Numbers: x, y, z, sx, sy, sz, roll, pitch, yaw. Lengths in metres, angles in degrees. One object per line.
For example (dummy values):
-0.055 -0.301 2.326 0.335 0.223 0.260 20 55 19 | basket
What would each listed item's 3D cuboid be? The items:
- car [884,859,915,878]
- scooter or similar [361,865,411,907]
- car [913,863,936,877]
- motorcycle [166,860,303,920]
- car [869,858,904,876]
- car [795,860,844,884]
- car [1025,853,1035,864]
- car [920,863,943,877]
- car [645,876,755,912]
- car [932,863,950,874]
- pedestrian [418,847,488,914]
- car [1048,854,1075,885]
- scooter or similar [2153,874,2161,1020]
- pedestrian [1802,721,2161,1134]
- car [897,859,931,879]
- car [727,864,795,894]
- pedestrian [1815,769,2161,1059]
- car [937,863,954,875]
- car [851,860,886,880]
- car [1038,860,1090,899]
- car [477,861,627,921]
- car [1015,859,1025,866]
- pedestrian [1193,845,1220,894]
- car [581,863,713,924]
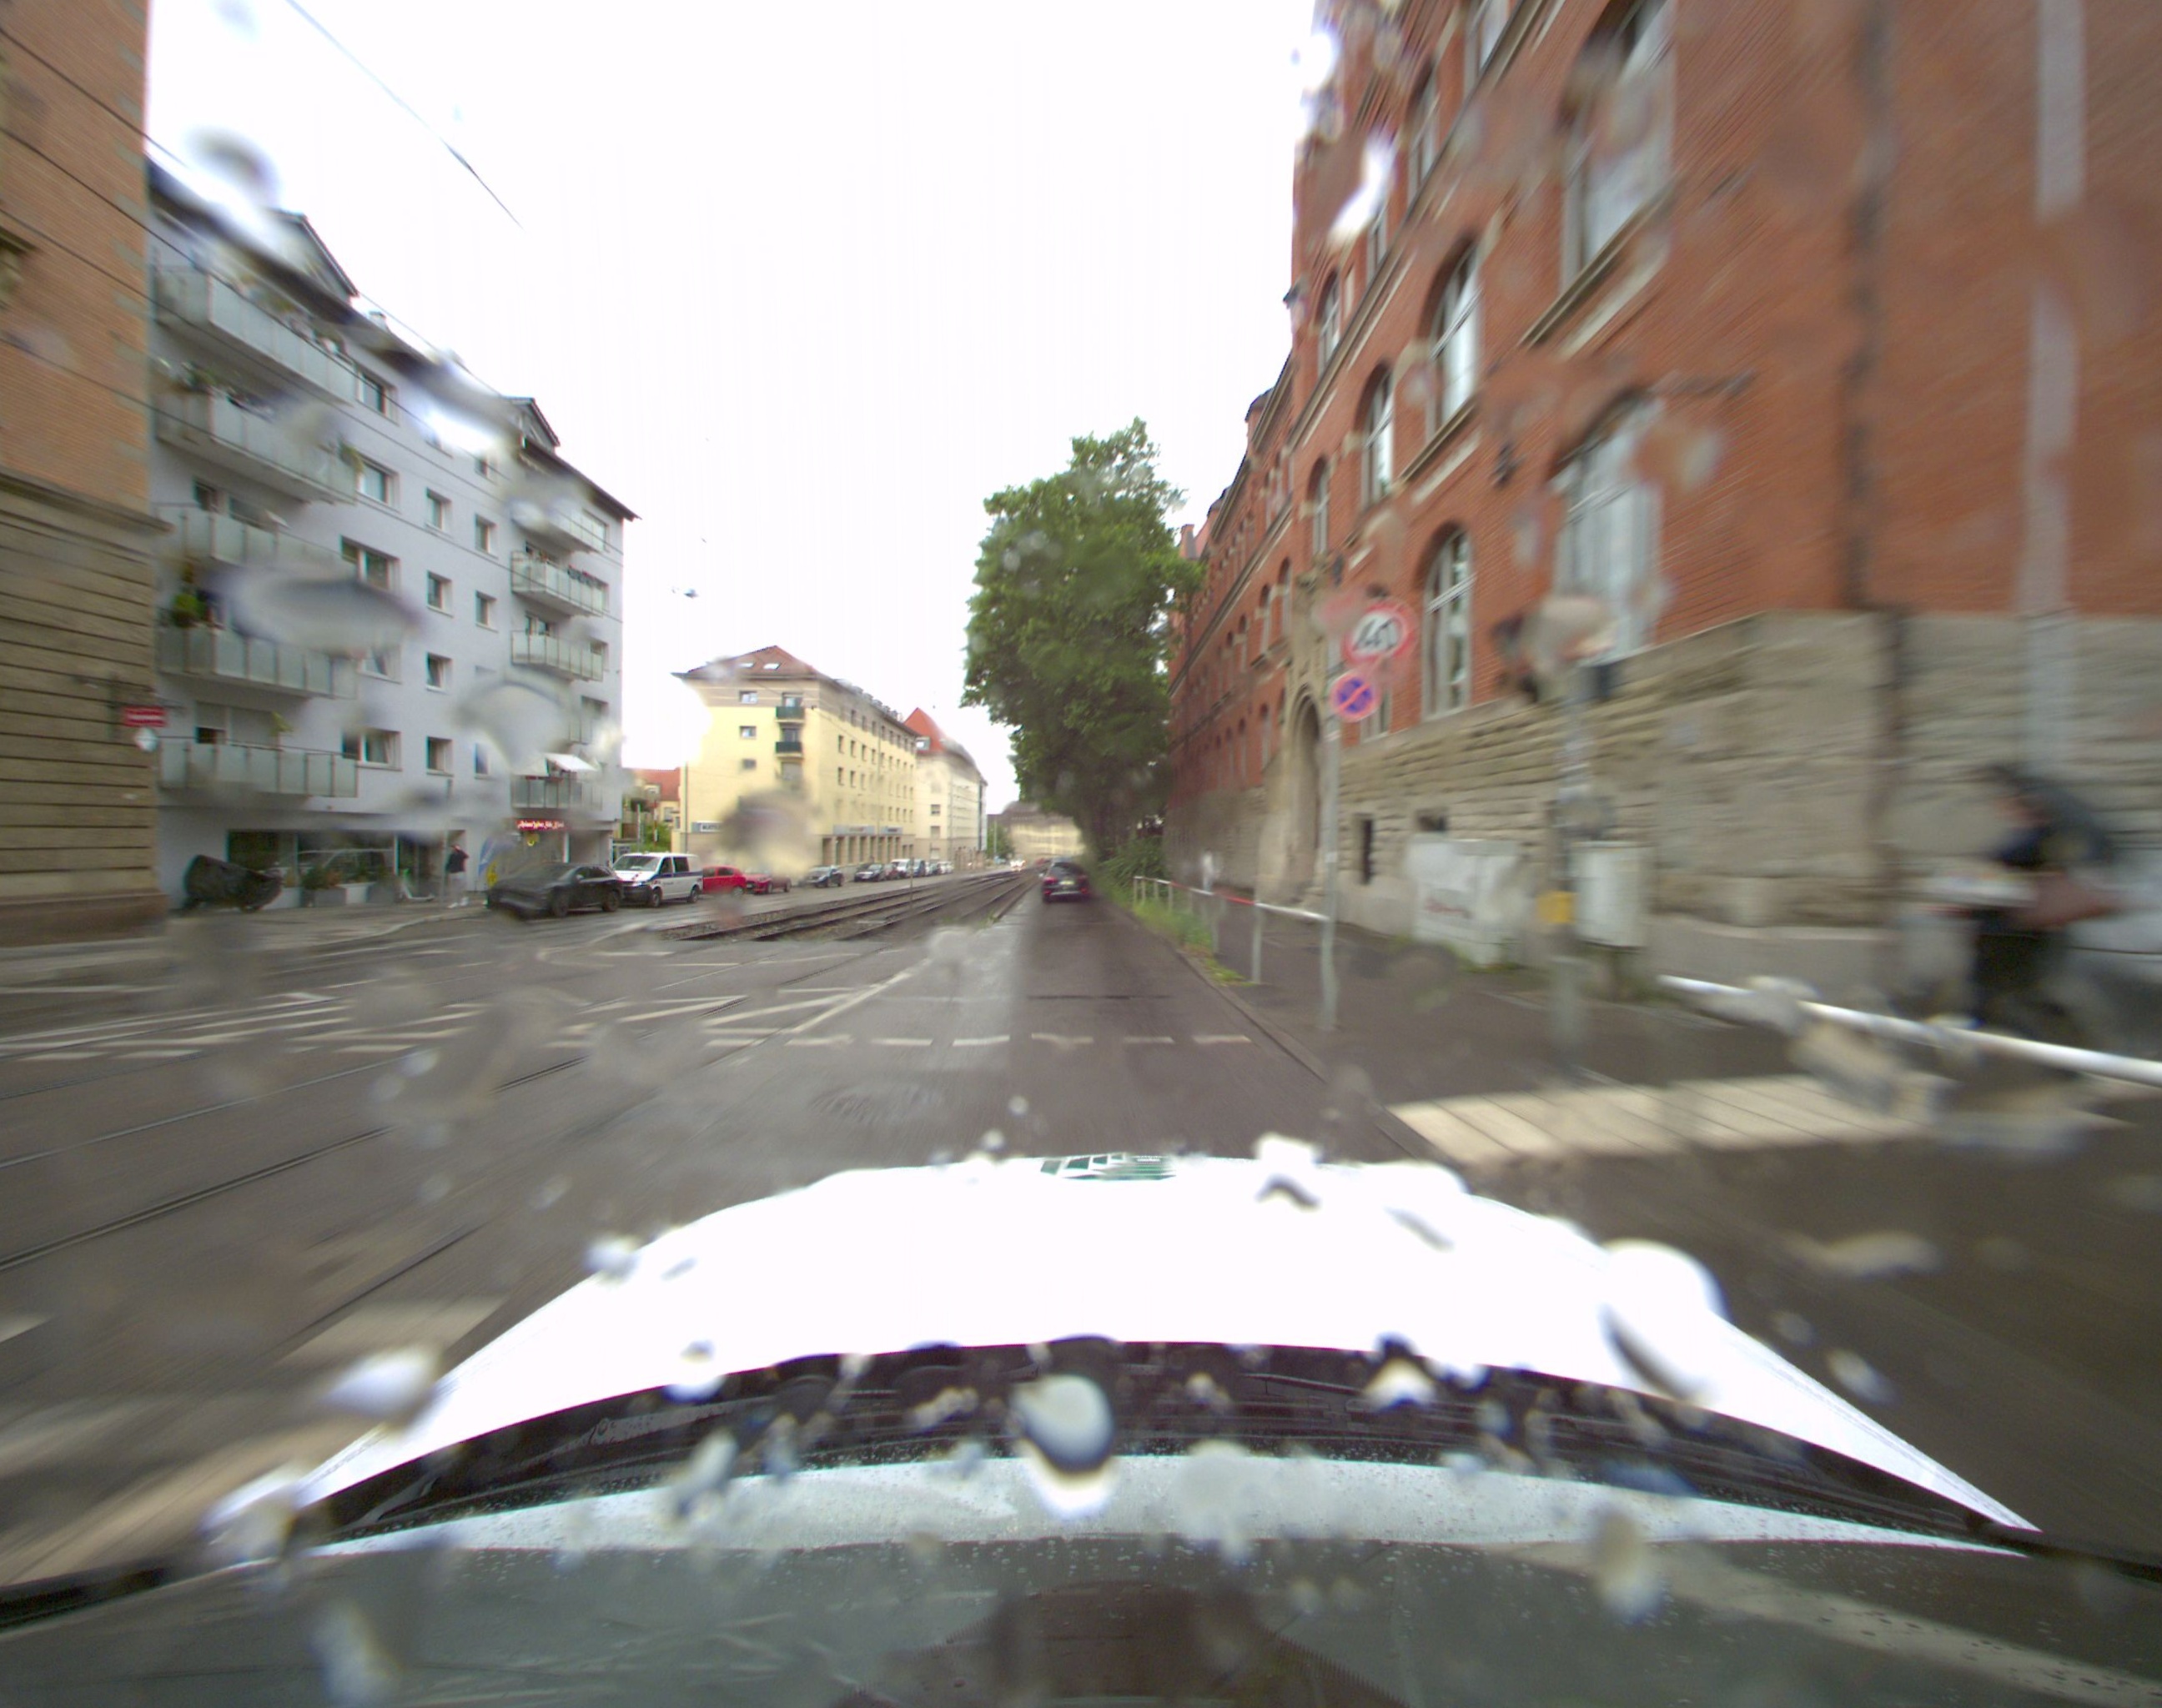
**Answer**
-16.807 1.318 75.524 1.861 1.717 4.458 -1 -1 0 | car
-21.425 0.973 25.109 1.090 1.209 0.315 -4 -1 -12 | scooter or similar
-16.587 1.643 86.412 1.686 1.439 4.048 -1 0 -1 | car
-20.782 0.858 20.080 0.926 1.376 2.308 1 -1 -1 | motorcycle
-16.654 1.097 69.844 1.845 1.432 4.830 1 -1 0 | car
-16.132 1.131 50.468 1.675 1.396 4.618 -1 -1 -2 | car
-12.019 1.184 193.665 1.987 2.452 5.996 -1 -2 0 | car
-16.650 1.783 90.899 1.808 1.499 4.580 1 -1 -1 | car
-16.445 1.697 35.334 1.762 1.434 4.007 -1 -1 33 | car
-17.055 1.760 99.322 1.701 1.396 3.929 1 -1 -4 | car
-18.469 0.772 24.001 1.171 1.929 1.174 0 -1 -9 | pedestrian
-1.346 1.057 55.327 1.736 2.014 3.899 0 -1 -2 | car
3.820 0.665 2.006 1.236 1.250 0.641 -2 -1 21 | scooter or similar
4.810 0.337 4.319 0.955 1.887 1.073 -2 -1 -1 | pedestrian
-16.606 1.492 81.219 1.985 1.905 5.463 1 -1 3 | car
-16.074 1.226 41.110 1.646 1.451 4.076 -1 -1 3 | car
5.672 0.345 5.194 0.955 1.625 1.073 -2 -1 -1 | pedestrian
-17.283 1.937 103.794 1.704 1.450 3.537 2 -1 -3 | car
-16.589 1.245 63.783 1.849 1.508 4.981 0 -1 -6 | car
-0.653 1.003 32.559 1.927 1.453 4.315 0 -1 -1 | car
-15.841 1.046 24.701 1.728 1.651 4.361 0 -1 -1 | car
-12.641 1.804 169.991 1.706 1.462 4.279 -1 -1 0 | car
4.368 0.545 28.491 0.820 1.679 0.860 -1 -1 2 | pedestrian
-16.083 1.387 30.598 2.064 2.009 5.299 3 0 -1 | car
